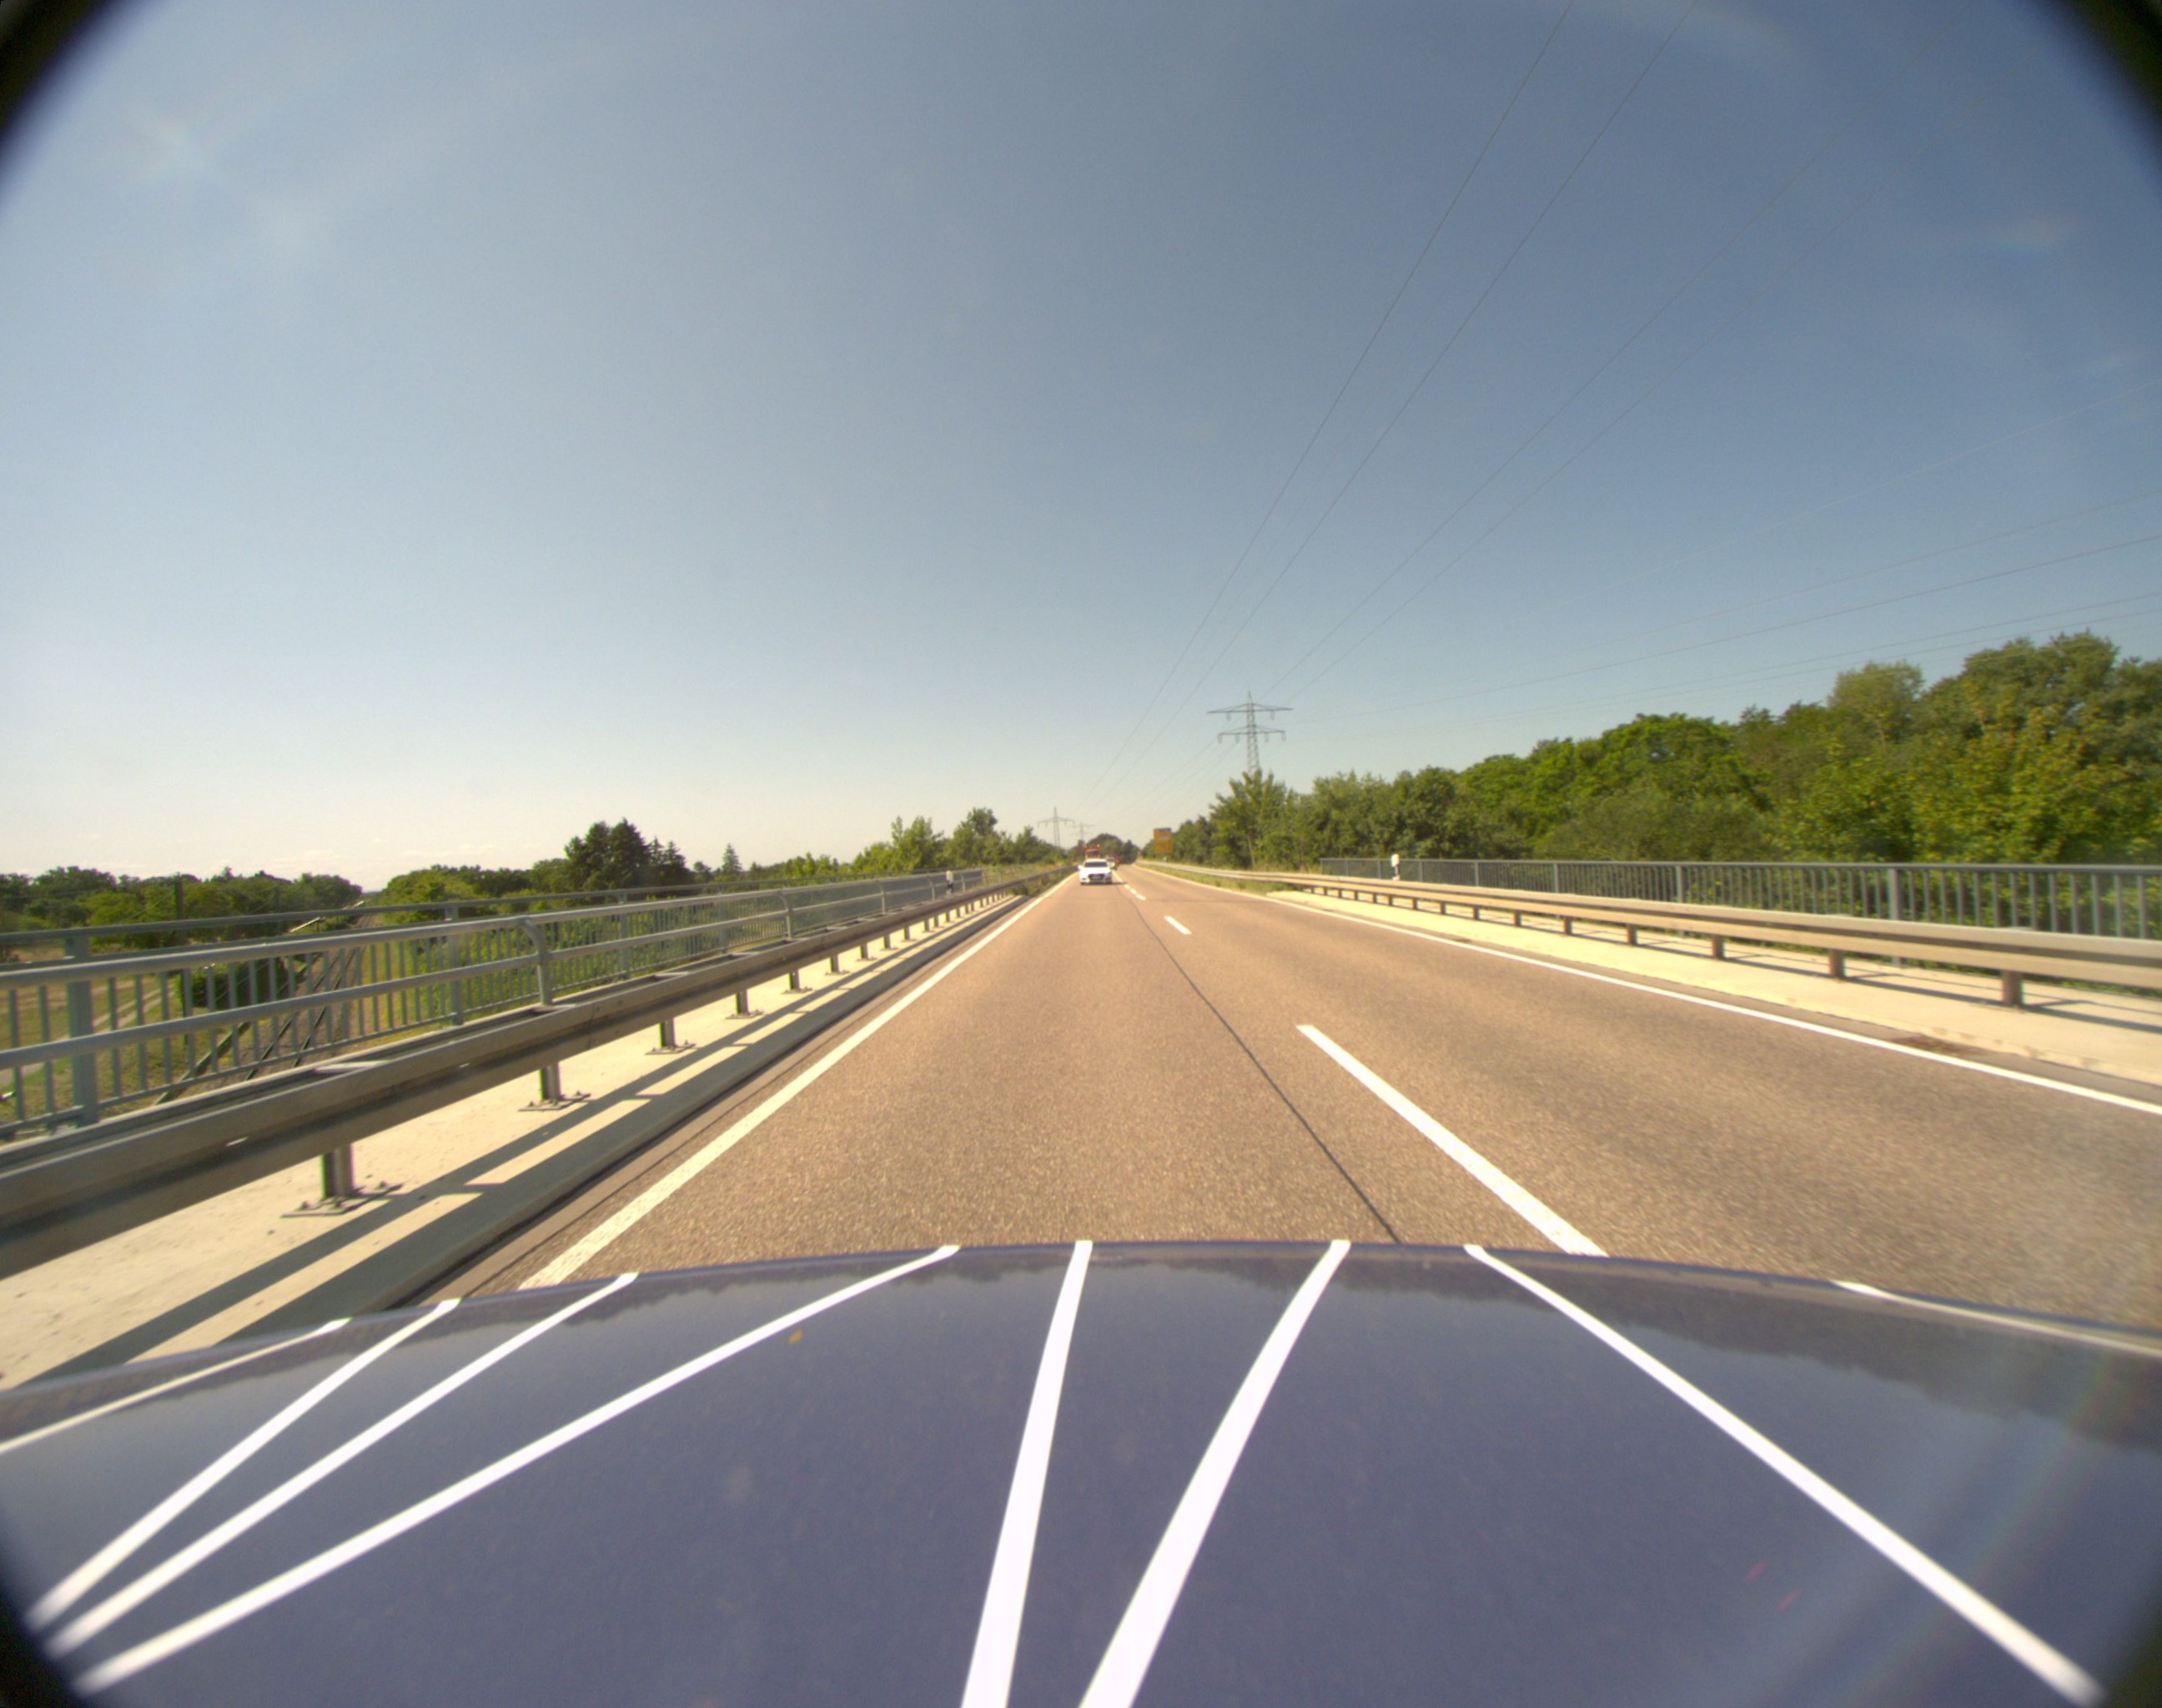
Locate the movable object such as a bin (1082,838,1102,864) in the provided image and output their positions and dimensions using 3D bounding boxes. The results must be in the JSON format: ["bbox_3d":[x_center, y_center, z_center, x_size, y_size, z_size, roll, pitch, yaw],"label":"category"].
[{"bbox_3d":[1.696,-0.440,116.962,2.760,3.817,9.446,-3,0,2],"label":"movable object such as a bin"}]

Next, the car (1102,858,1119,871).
[{"bbox_3d":[3.629,1.273,93.524,1.922,1.540,4.794,-3,0,1],"label":"car"}]

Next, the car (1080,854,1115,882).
[{"bbox_3d":[0.964,0.791,45.210,1.923,1.496,4.793,-3,0,0],"label":"car"}]
